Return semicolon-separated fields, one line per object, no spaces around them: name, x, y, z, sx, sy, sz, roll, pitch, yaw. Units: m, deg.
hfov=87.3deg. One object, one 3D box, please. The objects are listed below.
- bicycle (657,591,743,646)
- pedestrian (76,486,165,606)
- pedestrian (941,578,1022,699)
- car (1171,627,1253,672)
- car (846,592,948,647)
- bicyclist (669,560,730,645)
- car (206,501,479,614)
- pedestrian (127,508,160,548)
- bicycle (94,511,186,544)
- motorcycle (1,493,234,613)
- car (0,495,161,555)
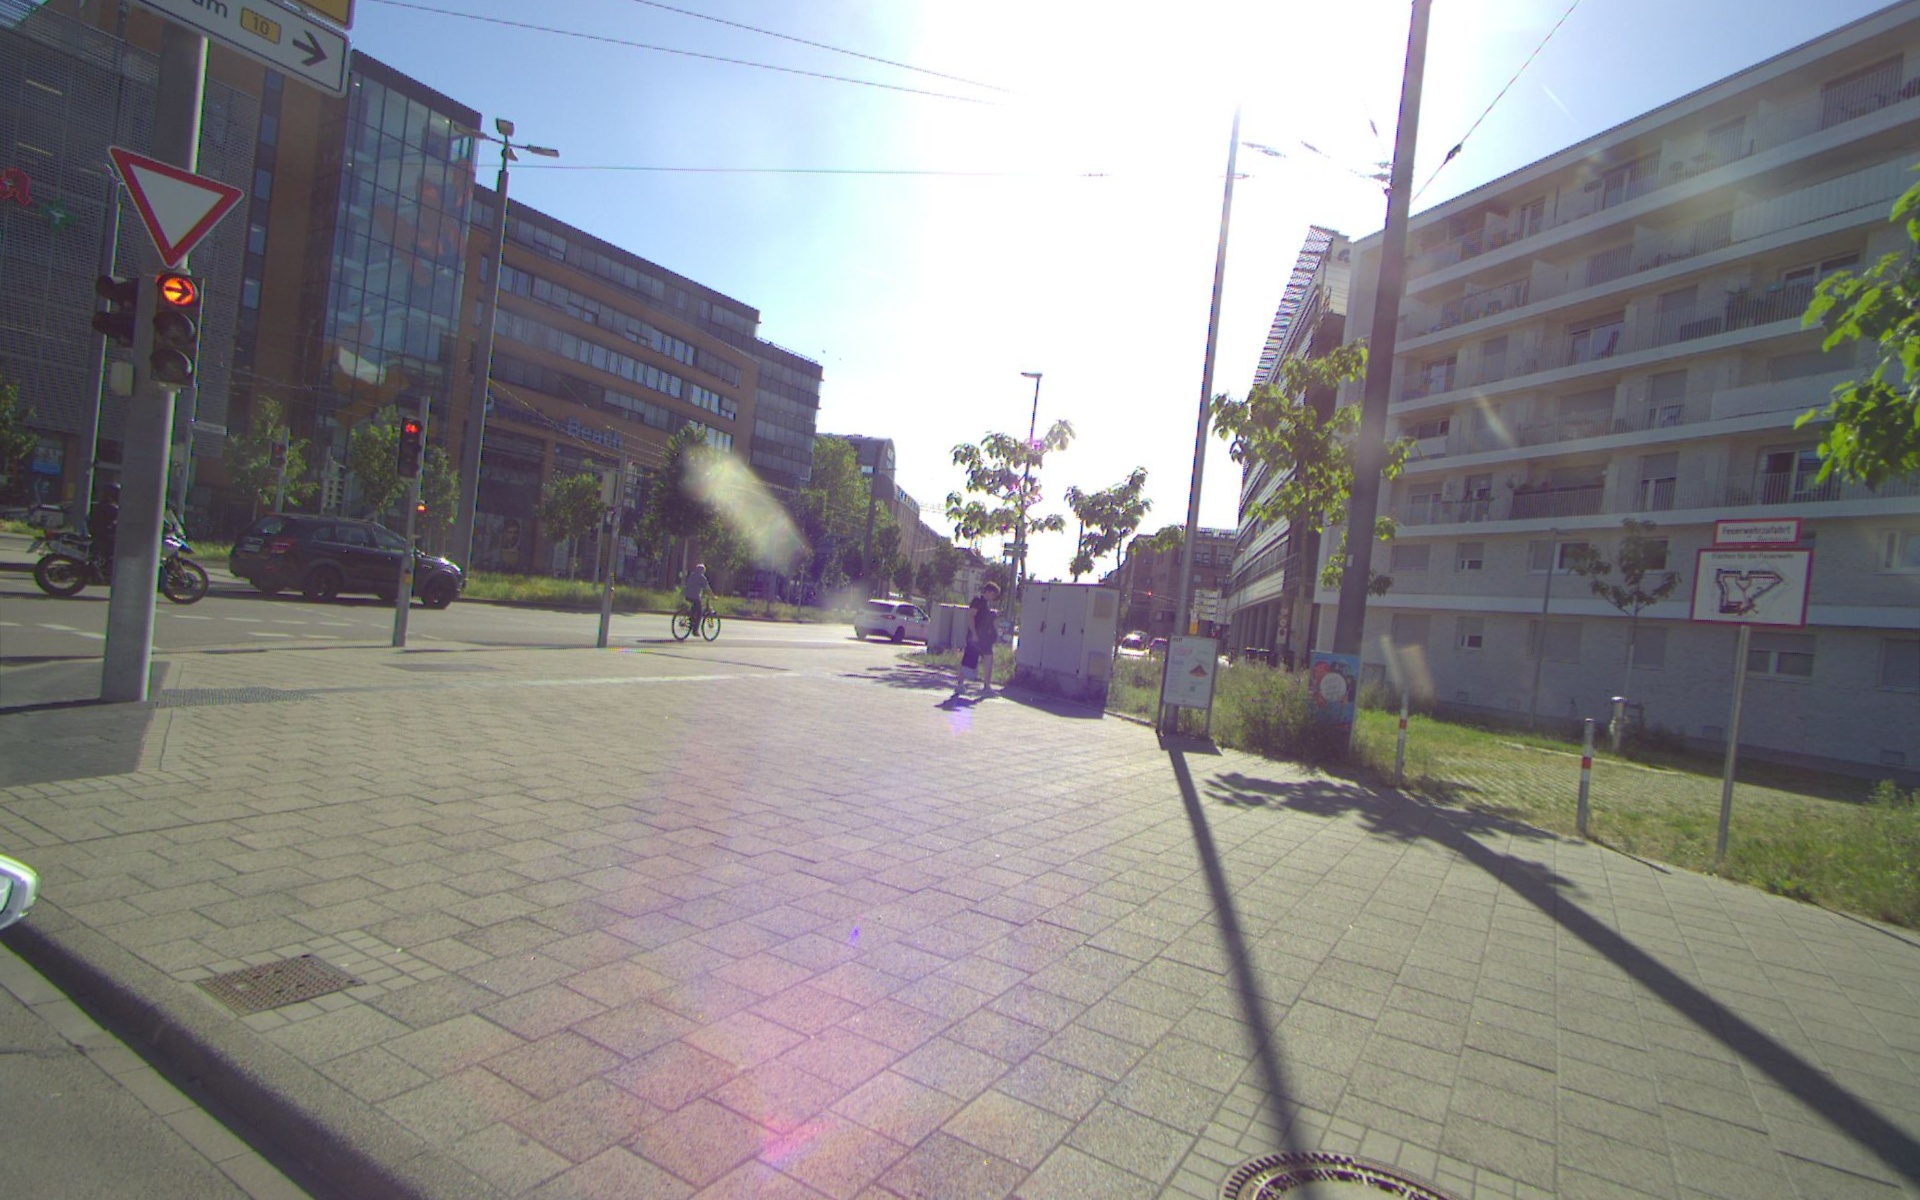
bicycle;-6.201;0.449;24.054;0.839;1.129;1.831;7;0;32
pedestrian;-12.760;-0.815;15.297;0.653;1.698;0.745;7;0;31
pedestrian;0.339;0.598;15.355;0.749;1.729;0.807;7;0;31
car;14.265;2.801;57.046;3.929;2.038;1.999;7;0;-5
car;-2.326;0.803;38.549;1.806;1.654;4.501;8;0;25
bicyclist;-6.211;0.072;23.985;0.840;1.882;0.903;7;0;32
car;-12.952;-0.803;21.490;1.806;1.739;4.650;8;-1;23
pedestrian;-39.397;-3.457;48.550;0.740;1.759;0.855;7;0;25
bicycle;-41.076;-3.610;50.443;1.100;1.090;3.361;7;-1;38
motorcycle;-12.745;-0.663;15.328;0.899;1.435;2.448;7;-2;30
car;-31.891;-2.697;36.278;1.470;1.513;4.493;7;-1;32
